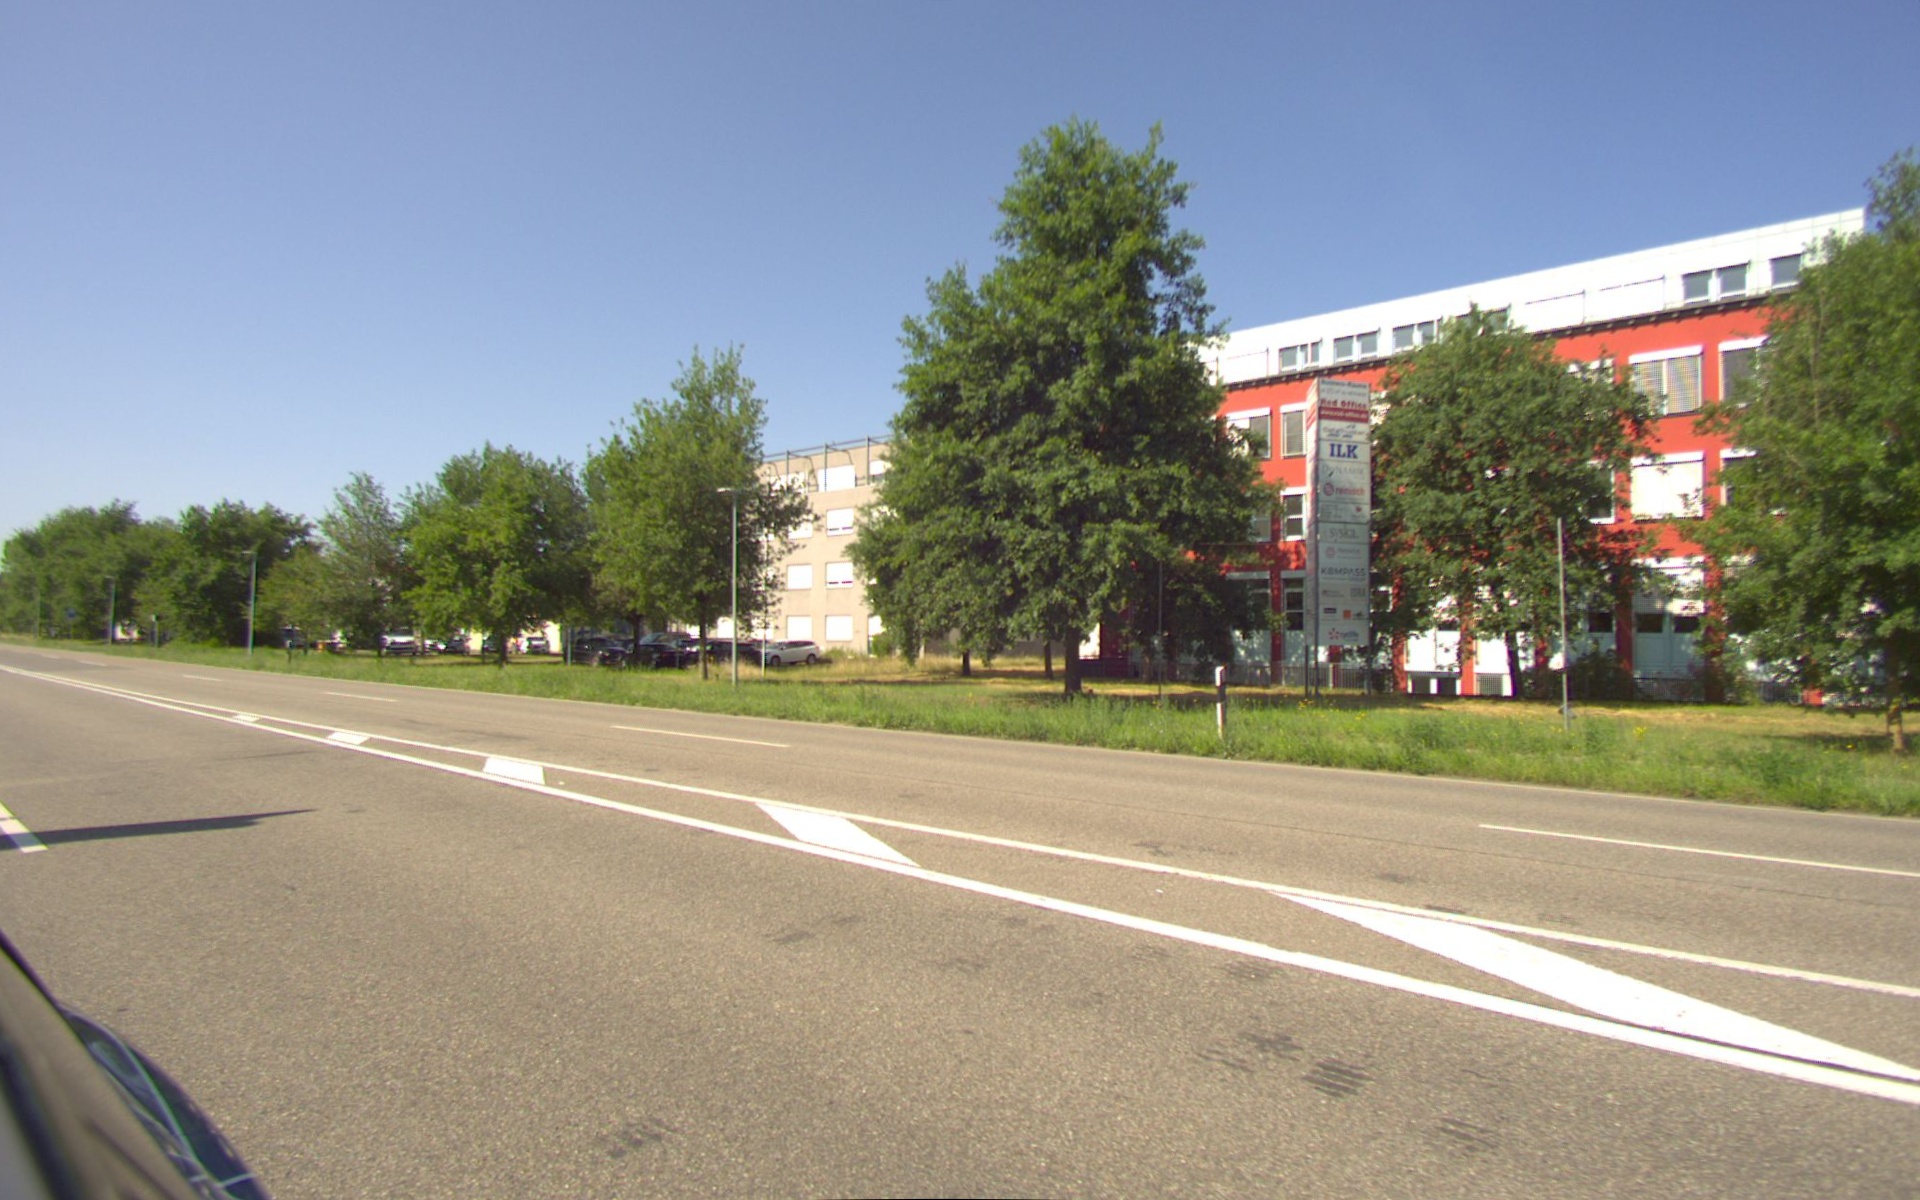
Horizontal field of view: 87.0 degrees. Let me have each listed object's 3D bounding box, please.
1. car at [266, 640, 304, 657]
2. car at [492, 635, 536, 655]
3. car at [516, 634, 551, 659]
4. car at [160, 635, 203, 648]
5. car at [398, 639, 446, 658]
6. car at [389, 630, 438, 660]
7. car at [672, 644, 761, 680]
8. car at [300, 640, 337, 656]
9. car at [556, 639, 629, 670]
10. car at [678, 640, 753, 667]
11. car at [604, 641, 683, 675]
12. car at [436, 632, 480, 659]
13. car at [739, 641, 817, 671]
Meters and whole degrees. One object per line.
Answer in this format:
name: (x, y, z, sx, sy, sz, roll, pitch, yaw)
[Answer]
car: (-56.766, 4.064, 85.096, 3.998, 1.360, 1.654, -2, -3, 41)
car: (-38.000, 3.806, 86.125, 4.167, 1.670, 1.837, -2, -3, 41)
car: (-32.098, 3.472, 76.250, 2.038, 1.820, 5.031, 1, -2, -18)
car: (-96.362, 5.122, 125.350, 1.757, 1.512, 3.945, -2, -3, 41)
car: (-41.979, 3.730, 78.897, 4.189, 1.404, 1.909, -1, -2, 40)
car: (-37.246, 3.046, 69.074, 2.038, 1.944, 5.031, 1, -2, -18)
car: (-11.397, 2.852, 47.199, 4.546, 1.590, 1.725, -2, -3, 41)
car: (-55.404, 4.147, 87.426, 3.998, 1.360, 1.654, -2, -3, 41)
car: (-19.839, 2.923, 54.579, 4.546, 1.590, 1.725, -2, -3, 41)
car: (-14.353, 3.133, 59.541, 1.886, 1.548, 3.946, -2, -3, 40)
car: (-16.096, 2.916, 51.438, 4.546, 1.590, 1.725, -2, -3, 41)
car: (-35.360, 3.196, 71.356, 2.038, 1.820, 5.031, 1, -2, -18)
car: (-10.116, 3.084, 56.479, 1.741, 1.598, 4.093, -2, -3, 40)
